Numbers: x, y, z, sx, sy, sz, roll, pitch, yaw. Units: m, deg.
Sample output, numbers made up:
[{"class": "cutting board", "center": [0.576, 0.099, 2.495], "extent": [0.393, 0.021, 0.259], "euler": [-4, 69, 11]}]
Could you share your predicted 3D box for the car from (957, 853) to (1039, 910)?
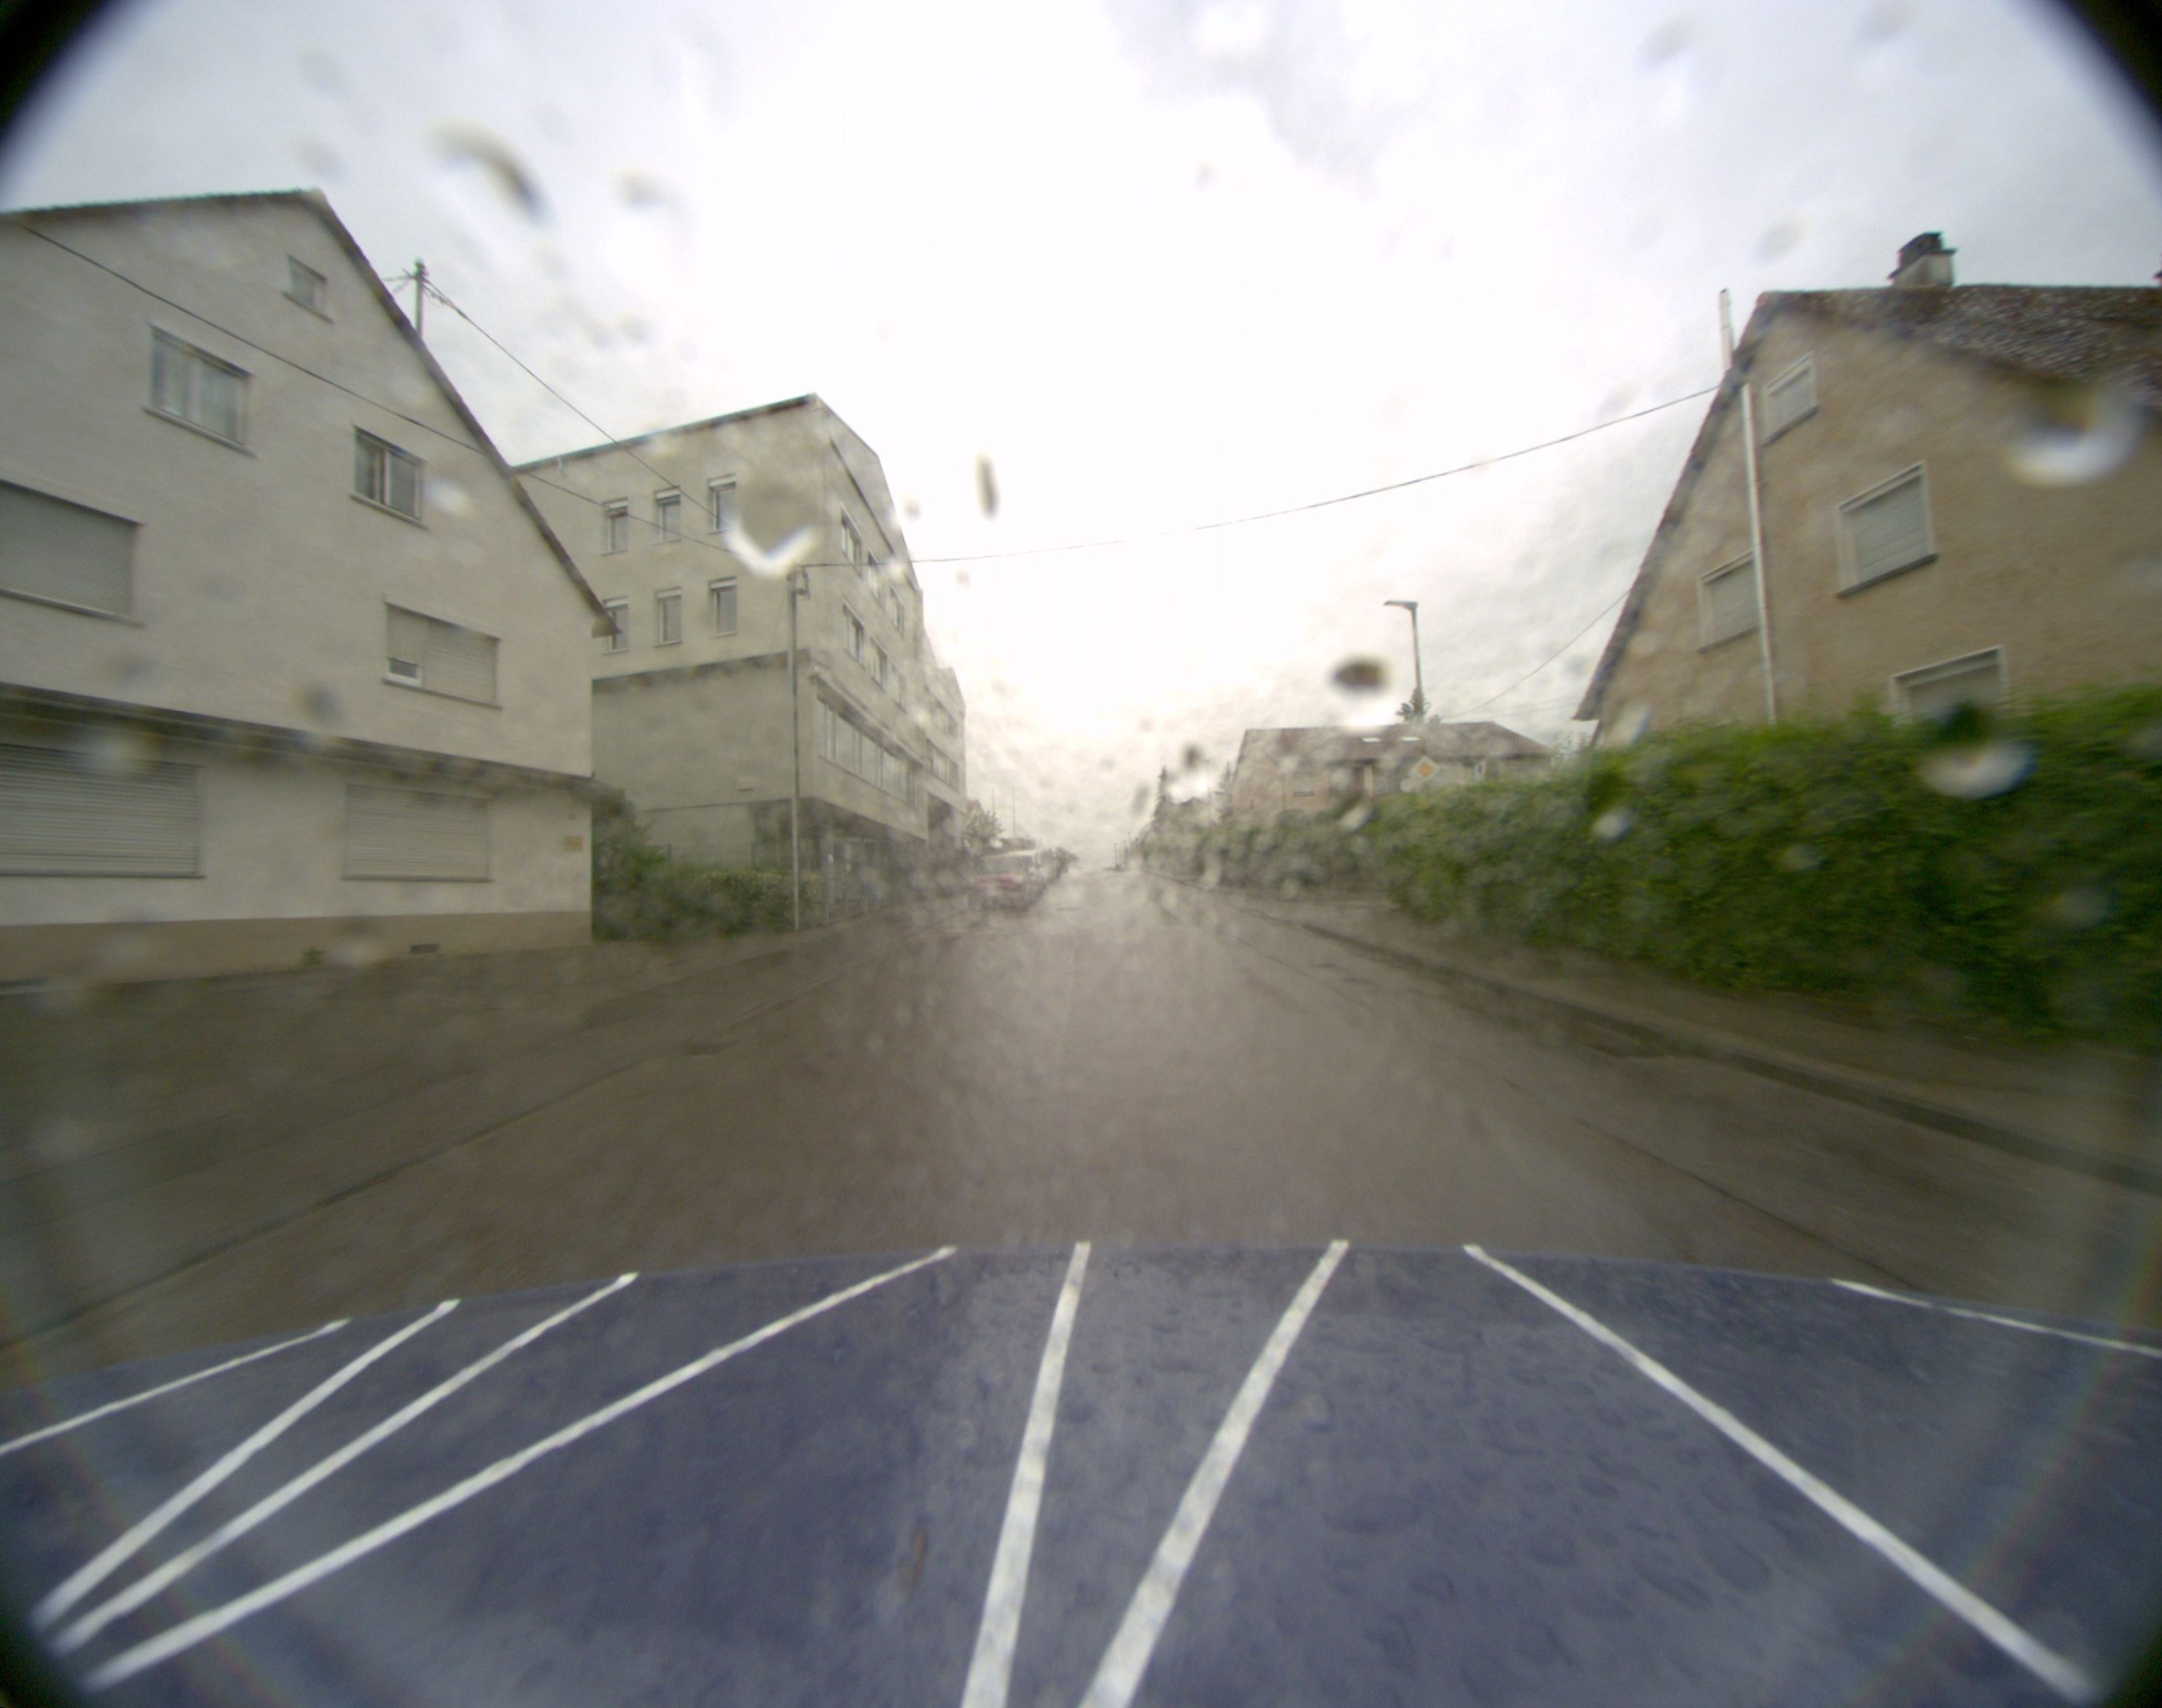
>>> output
[{"class": "car", "center": [-2.624, 0.811, 25.277], "extent": [1.998, 1.635, 4.958], "euler": [-2, 0, 1]}]

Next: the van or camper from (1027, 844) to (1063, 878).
[{"class": "van or camper", "center": [-2.309, 0.446, 49.949], "extent": [1.998, 2.101, 5.202], "euler": [-1, 0, 0]}]

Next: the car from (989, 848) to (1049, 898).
[{"class": "car", "center": [-2.408, 0.703, 30.503], "extent": [1.883, 1.823, 4.489], "euler": [-2, 0, 1]}]

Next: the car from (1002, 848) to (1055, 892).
[{"class": "car", "center": [-2.450, 0.727, 36.681], "extent": [1.998, 1.924, 4.976], "euler": [-2, 0, 1]}]

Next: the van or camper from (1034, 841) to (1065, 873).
[{"class": "van or camper", "center": [-2.292, 0.230, 56.157], "extent": [1.998, 2.229, 5.441], "euler": [-1, 0, 0]}]

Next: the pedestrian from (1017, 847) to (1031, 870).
[{"class": "pedestrian", "center": [-4.441, 0.351, 59.186], "extent": [1.026, 1.748, 1.031], "euler": [-1, -1, -2]}]
